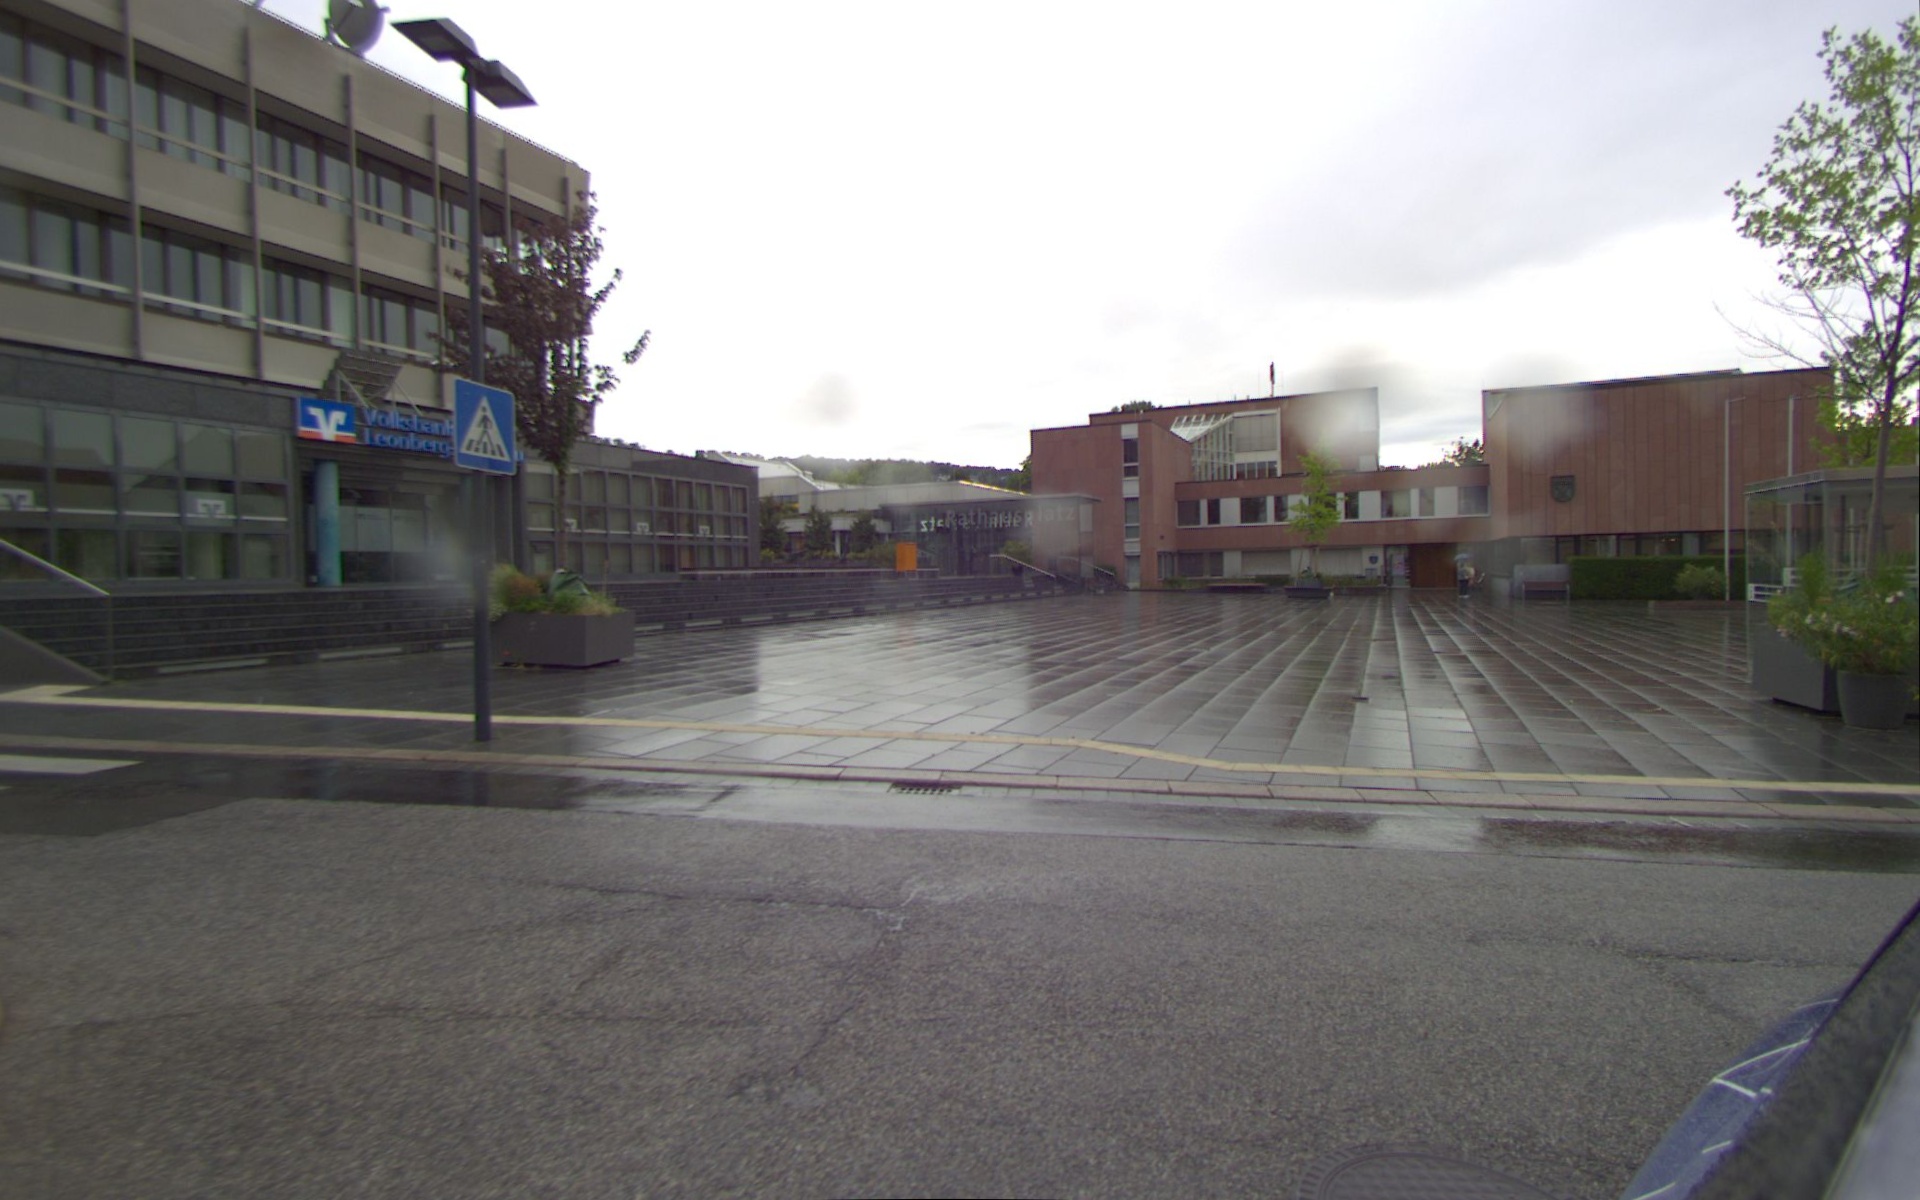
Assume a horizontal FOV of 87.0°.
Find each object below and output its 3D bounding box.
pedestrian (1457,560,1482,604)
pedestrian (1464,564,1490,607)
[{"bbox_3d":[23.914,-0.873,47.495,0.845,2.038,0.733,-1,2,-32],"label":"pedestrian"},{"bbox_3d":[24.584,-0.710,48.111,0.845,2.038,0.733,-1,2,-32],"label":"pedestrian"}]
